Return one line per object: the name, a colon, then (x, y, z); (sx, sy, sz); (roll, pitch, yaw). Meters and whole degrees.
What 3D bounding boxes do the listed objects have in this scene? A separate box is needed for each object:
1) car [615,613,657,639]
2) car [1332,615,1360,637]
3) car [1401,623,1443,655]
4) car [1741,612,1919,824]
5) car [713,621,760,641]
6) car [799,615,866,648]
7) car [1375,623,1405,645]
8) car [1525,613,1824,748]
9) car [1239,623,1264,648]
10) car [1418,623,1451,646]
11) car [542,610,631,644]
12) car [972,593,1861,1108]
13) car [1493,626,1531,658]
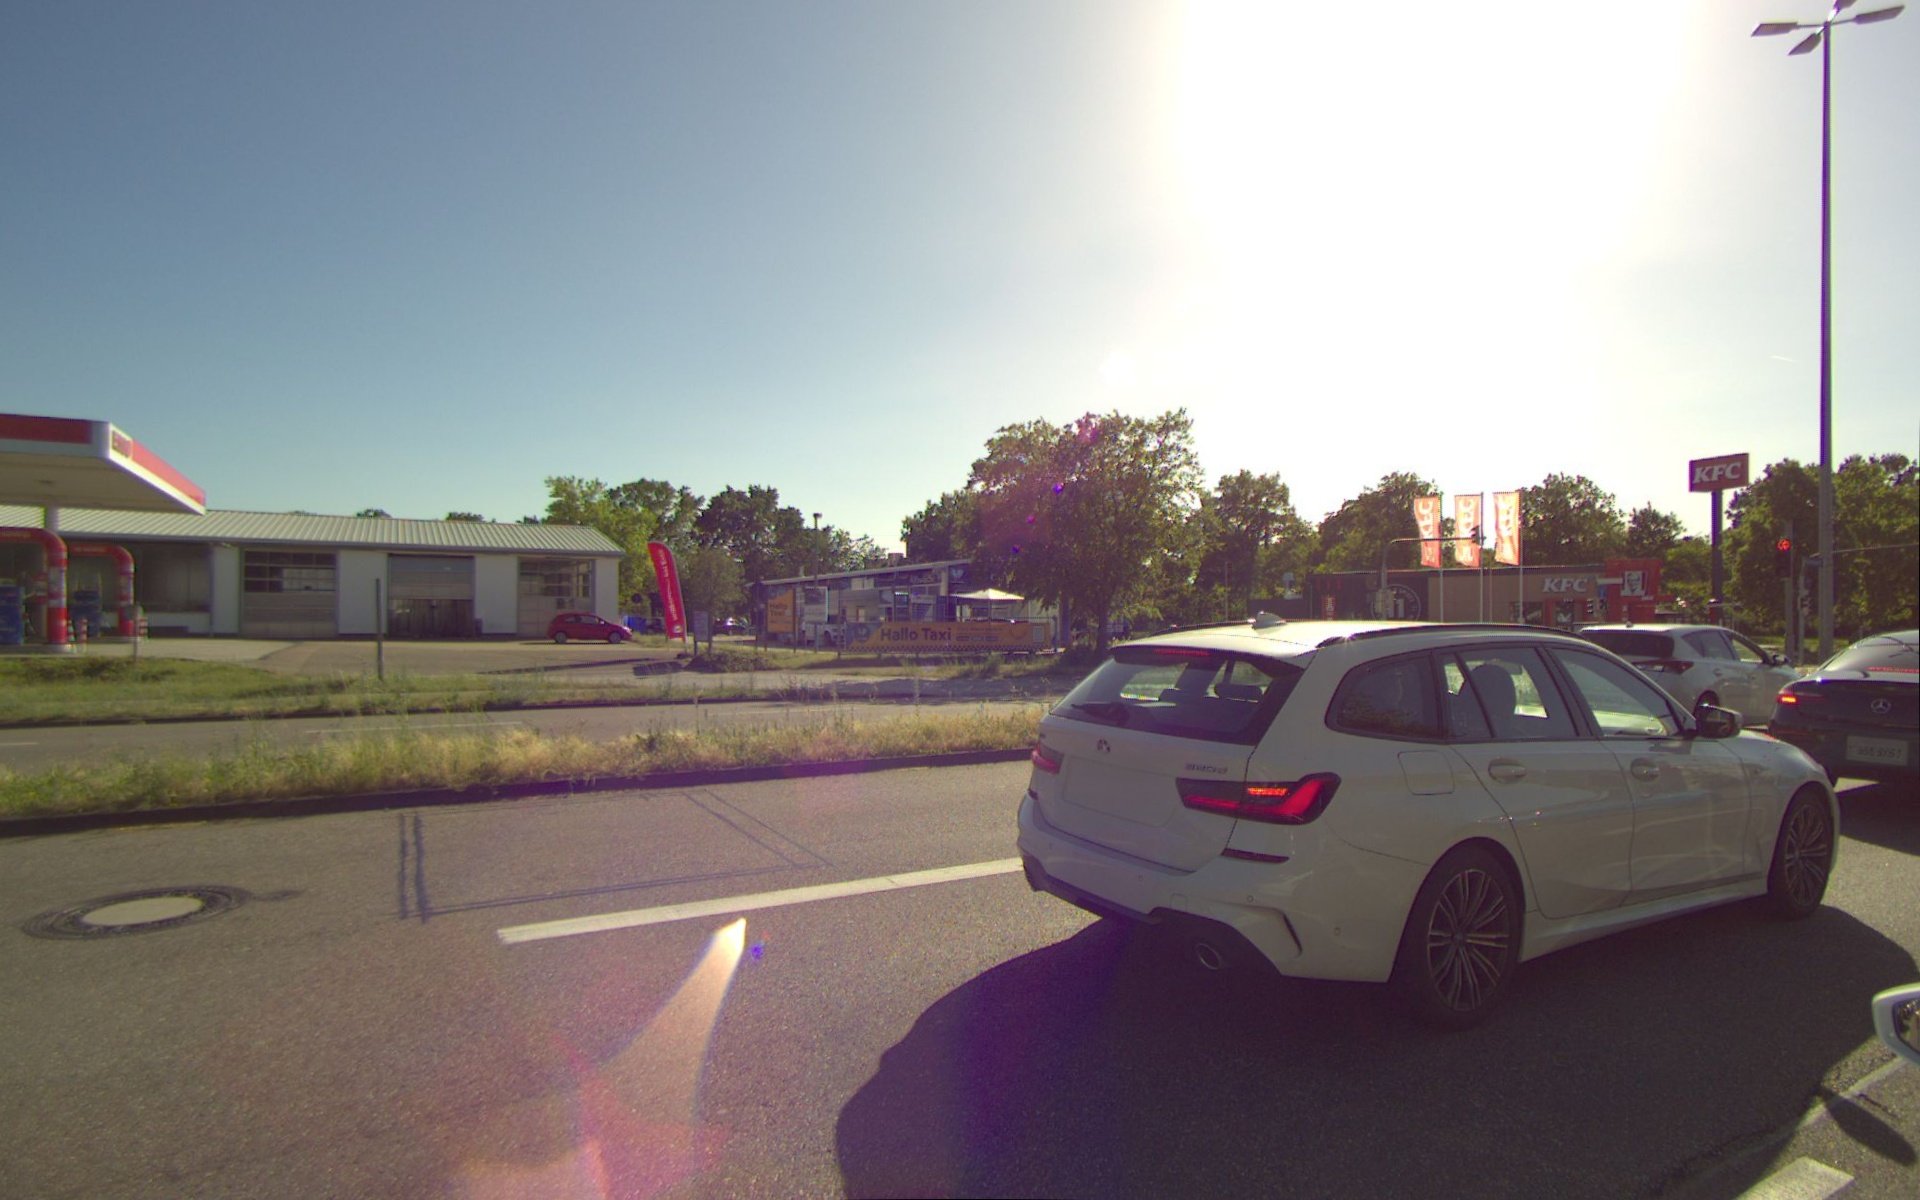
car: (-19.306, 1.539, 59.724); (1.634, 1.383, 3.744); (2, 0, -29)
car: (28.282, 1.891, 73.644); (1.629, 1.491, 3.919); (2, 0, 18)
car: (28.335, 2.340, 61.508); (1.964, 1.788, 4.349); (2, 0, 29)
car: (8.766, 0.928, 8.627); (4.425, 1.510, 1.787); (2, 0, -31)
car: (-19.427, 2.711, 87.555); (3.929, 1.634, 1.996); (2, 0, -11)
car: (-6.764, 1.640, 53.086); (1.978, 1.584, 3.964); (2, 0, -32)
car: (31.293, 2.442, 73.209); (1.629, 1.491, 3.919); (2, 0, 18)
car: (9.581, 0.998, 13.399); (4.150, 1.510, 1.750); (2, 0, -31)
car: (21.803, 2.618, 75.142); (1.629, 1.695, 3.945); (2, 0, 18)
car: (33.926, 2.452, 71.936); (1.629, 1.491, 3.919); (2, 0, 18)
car: (-18.356, 1.328, 49.395); (3.946, 1.537, 1.772); (2, 0, -25)
car: (2.375, 0.795, 4.863); (4.353, 1.510, 1.776); (2, 0, -31)
car: (33.081, 2.471, 60.191); (1.880, 1.776, 4.349); (2, 0, 29)
